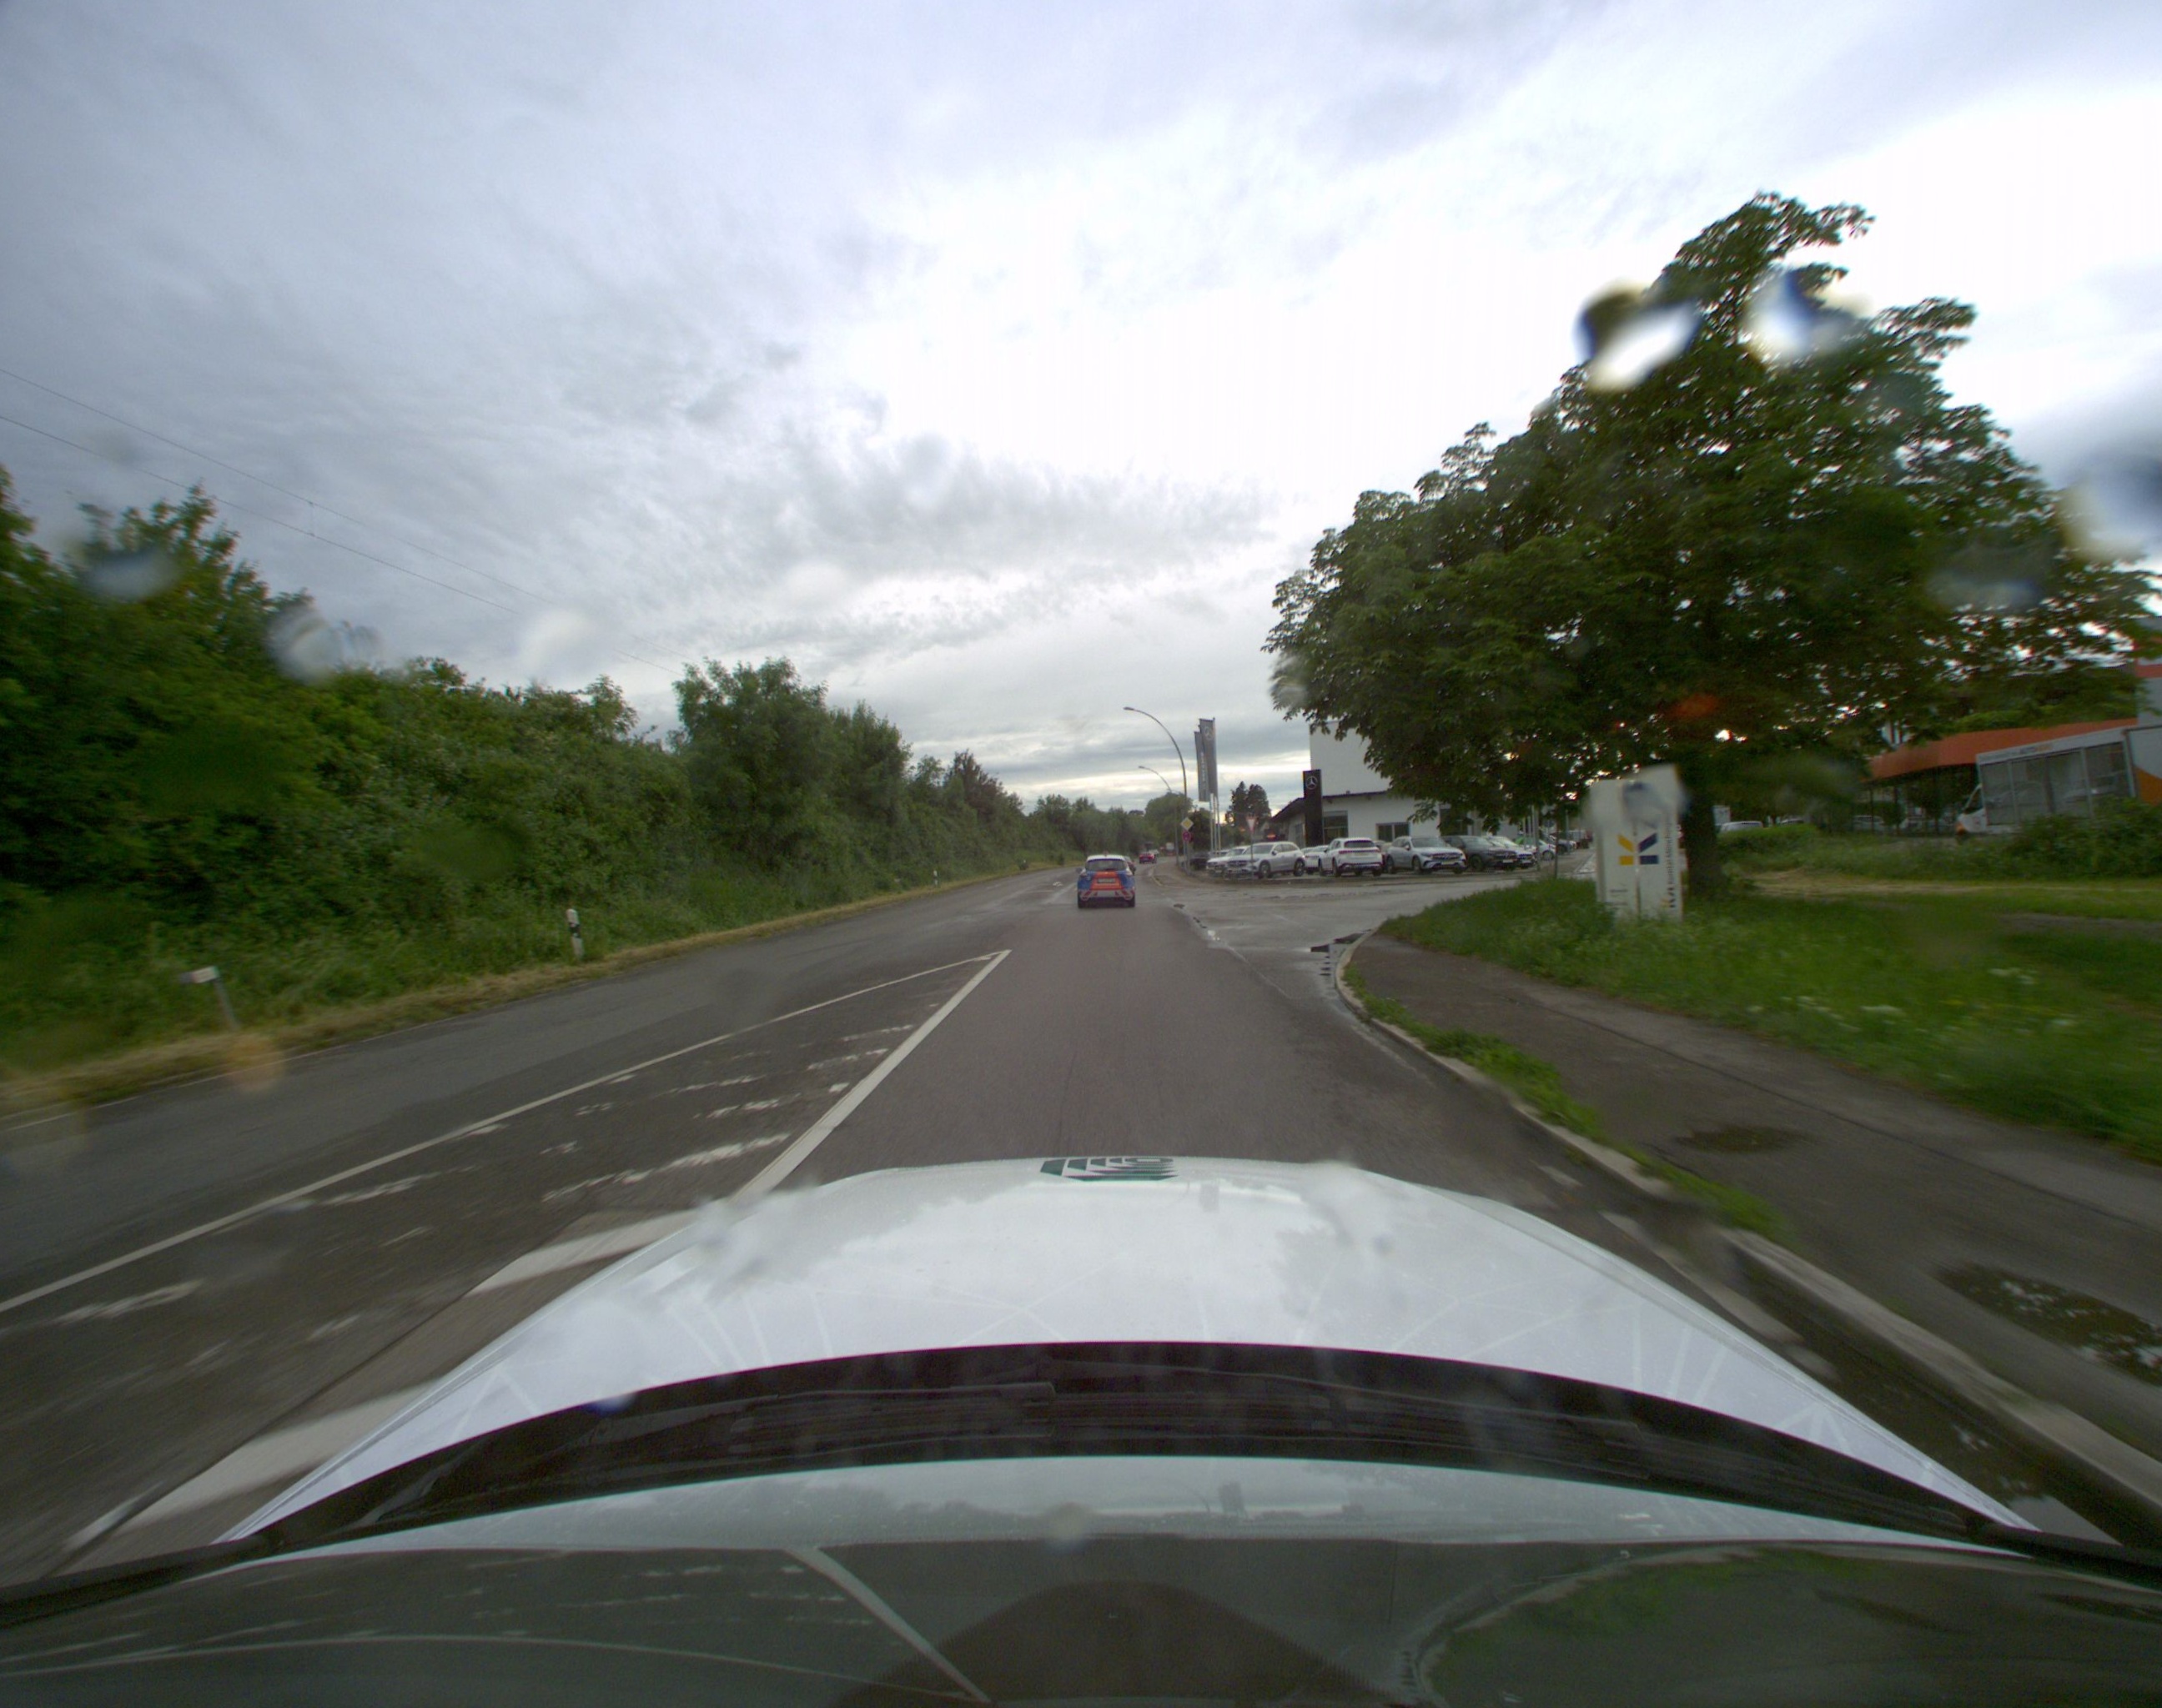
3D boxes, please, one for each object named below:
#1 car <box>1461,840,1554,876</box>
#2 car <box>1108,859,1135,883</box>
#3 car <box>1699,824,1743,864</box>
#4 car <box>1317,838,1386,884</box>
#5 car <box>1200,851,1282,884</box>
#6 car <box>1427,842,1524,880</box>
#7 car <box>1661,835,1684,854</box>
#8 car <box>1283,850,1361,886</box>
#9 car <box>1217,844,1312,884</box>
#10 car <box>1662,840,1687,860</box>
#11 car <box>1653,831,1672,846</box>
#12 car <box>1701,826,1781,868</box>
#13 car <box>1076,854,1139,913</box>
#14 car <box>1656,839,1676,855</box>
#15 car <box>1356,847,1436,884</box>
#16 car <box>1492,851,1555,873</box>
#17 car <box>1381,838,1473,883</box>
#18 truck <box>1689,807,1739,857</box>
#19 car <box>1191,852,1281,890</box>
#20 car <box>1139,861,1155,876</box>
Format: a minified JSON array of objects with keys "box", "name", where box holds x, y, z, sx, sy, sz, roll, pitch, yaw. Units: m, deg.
[{"box":[20.273,0.242,38.964,1.648,1.603,4.606,1,-2,-7],"name":"car"},{"box":[2.893,1.225,57.558,1.685,1.595,3.862,0,-2,6],"name":"car"},{"box":[38.465,-0.562,48.970,1.901,2.251,4.318,-3,-2,38],"name":"car"},{"box":[11.499,0.334,34.913,1.818,1.829,4.268,0,-2,5],"name":"car"},{"box":[8.933,0.782,45.349,4.638,1.751,1.787,1,-4,-35],"name":"car"},{"box":[17.525,0.353,36.446,1.648,1.603,4.606,1,-2,-7],"name":"car"},{"box":[67.197,-1.086,92.520,1.901,2.041,4.318,-3,-2,38],"name":"car"},{"box":[12.492,0.682,42.064,1.907,1.751,4.646,-2,-1,44],"name":"car"},{"box":[8.517,0.518,37.622,4.644,1.751,2.011,2,-2,-43],"name":"car"},{"box":[64.058,-0.419,87.854,1.901,2.041,4.318,-3,-2,38],"name":"car"},{"box":[83.504,-2.185,116.867,1.901,2.041,4.318,-3,-2,38],"name":"car"},{"box":[34.004,-0.326,42.080,1.761,2.034,4.311,-1,-1,18],"name":"car"},{"box":[0.818,0.901,25.335,1.799,1.668,3.857,0,-2,2],"name":"car"},{"box":[79.776,-0.965,111.046,1.901,2.041,4.318,-3,-2,38],"name":"car"},{"box":[15.853,0.572,40.889,4.644,1.751,1.908,0,-1,-43],"name":"car"},{"box":[29.195,0.548,53.759,3.619,1.376,1.665,-1,-2,30],"name":"car"},{"box":[14.514,0.311,34.494,1.930,1.751,4.617,0,-2,0],"name":"car"},{"box":[43.275,-1.406,55.570,2.455,2.995,6.964,-1,-2,39],"name":"truck"},{"box":[7.804,0.893,40.785,4.644,1.751,2.010,2,-4,-43],"name":"car"},{"box":[8.218,1.830,101.435,1.683,1.791,3.866,0,-2,10],"name":"car"}]
